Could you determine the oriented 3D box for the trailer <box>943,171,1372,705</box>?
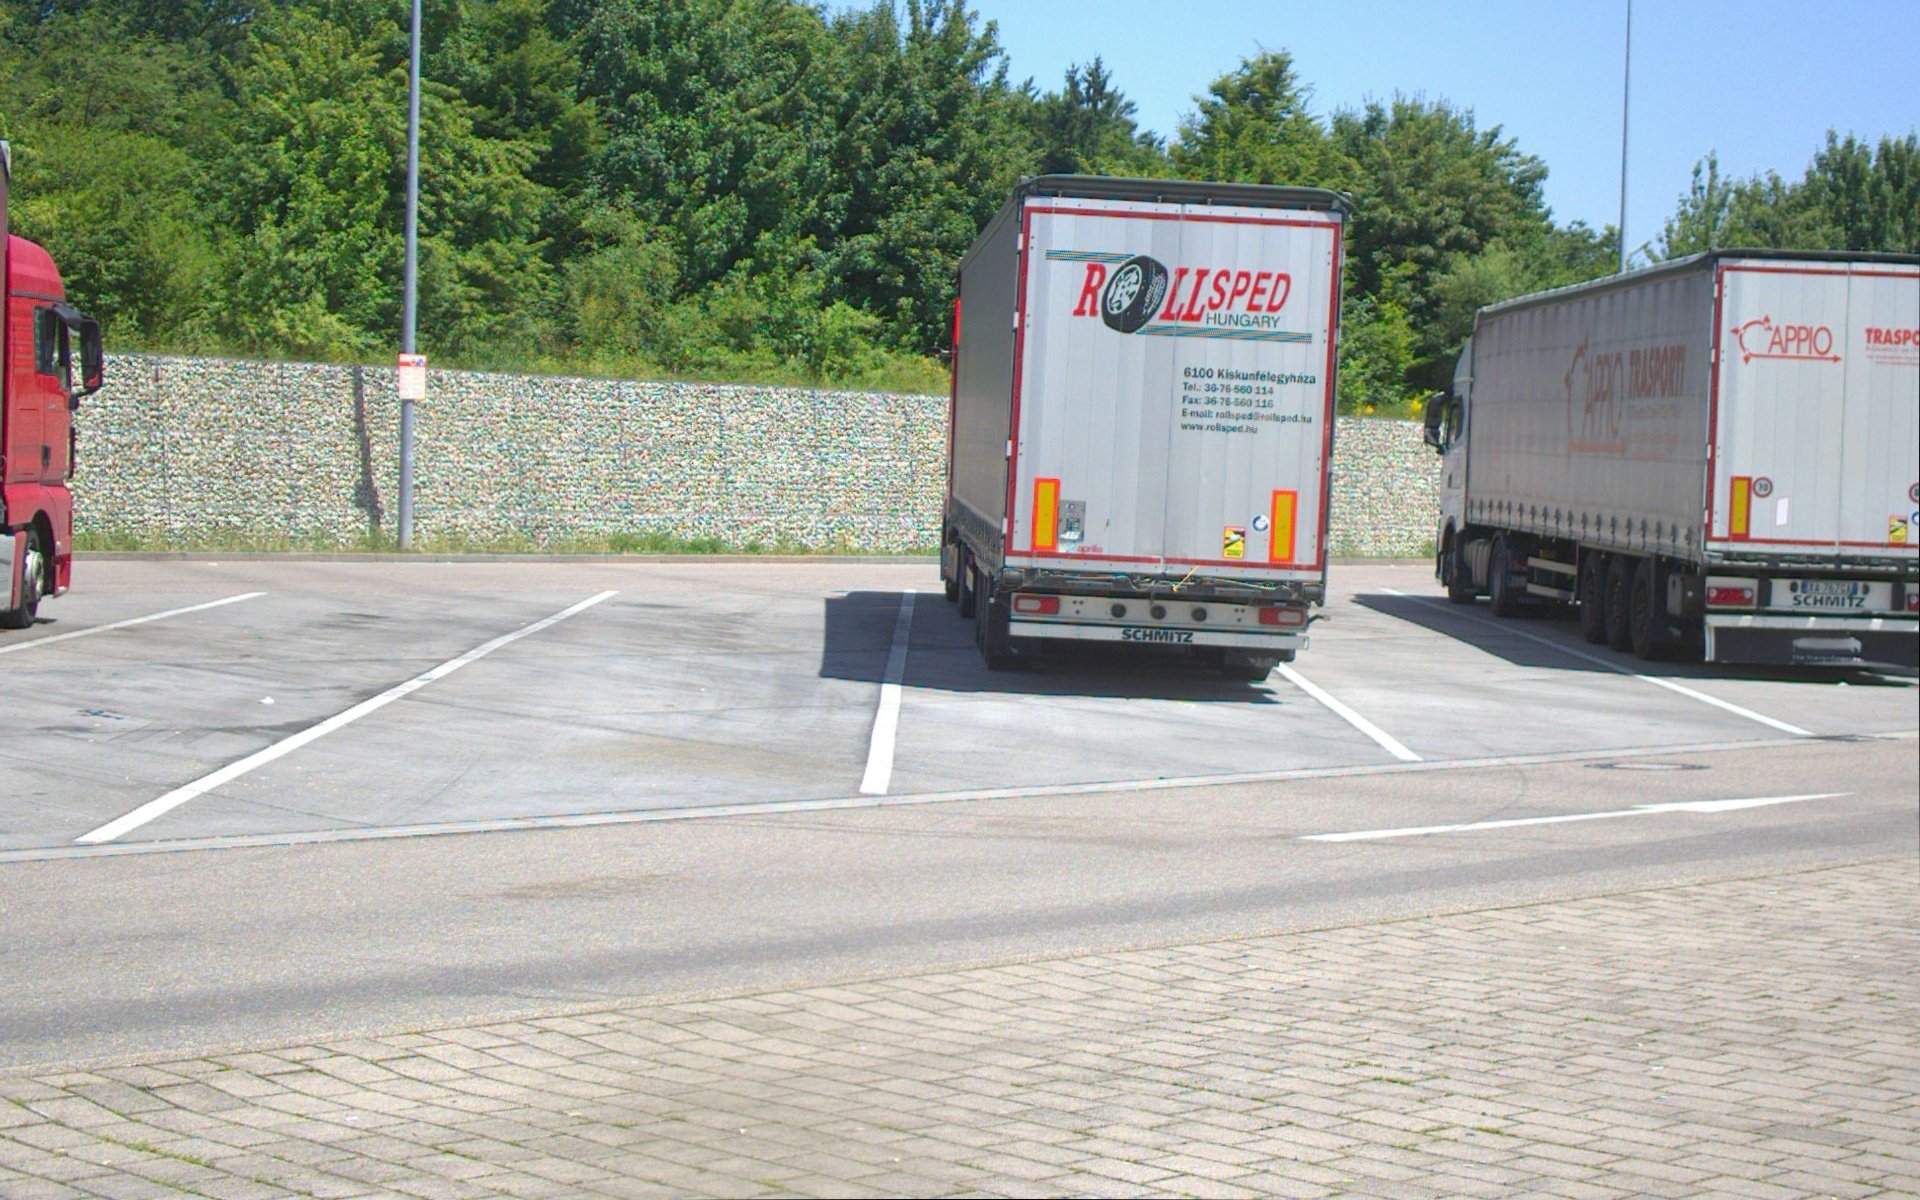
[{"bbox_3d":[1.467,-1.569,33.109,2.858,3.958,13.765,2,3,-1],"label":"trailer"}]

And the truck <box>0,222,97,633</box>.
[{"bbox_3d":[-9.244,-1.457,28.187,2.812,3.351,5.975,2,3,-1],"label":"truck"}]

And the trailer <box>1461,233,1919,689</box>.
[{"bbox_3d":[8.196,-1.589,38.363,2.858,4.095,13.765,2,3,-1],"label":"trailer"}]

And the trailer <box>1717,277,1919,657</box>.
[{"bbox_3d":[11.793,-1.504,39.375,2.858,4.095,13.765,2,3,-1],"label":"trailer"}]

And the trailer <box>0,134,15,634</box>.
[{"bbox_3d":[-9.157,-1.467,21.368,2.821,4.057,13.765,2,3,-1],"label":"trailer"}]

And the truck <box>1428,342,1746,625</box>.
[{"bbox_3d":[8.095,-1.570,45.129,2.865,3.351,5.975,2,3,-1],"label":"truck"}]

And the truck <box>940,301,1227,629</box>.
[{"bbox_3d":[1.283,-1.574,39.310,2.865,3.351,5.975,2,3,-1],"label":"truck"}]
